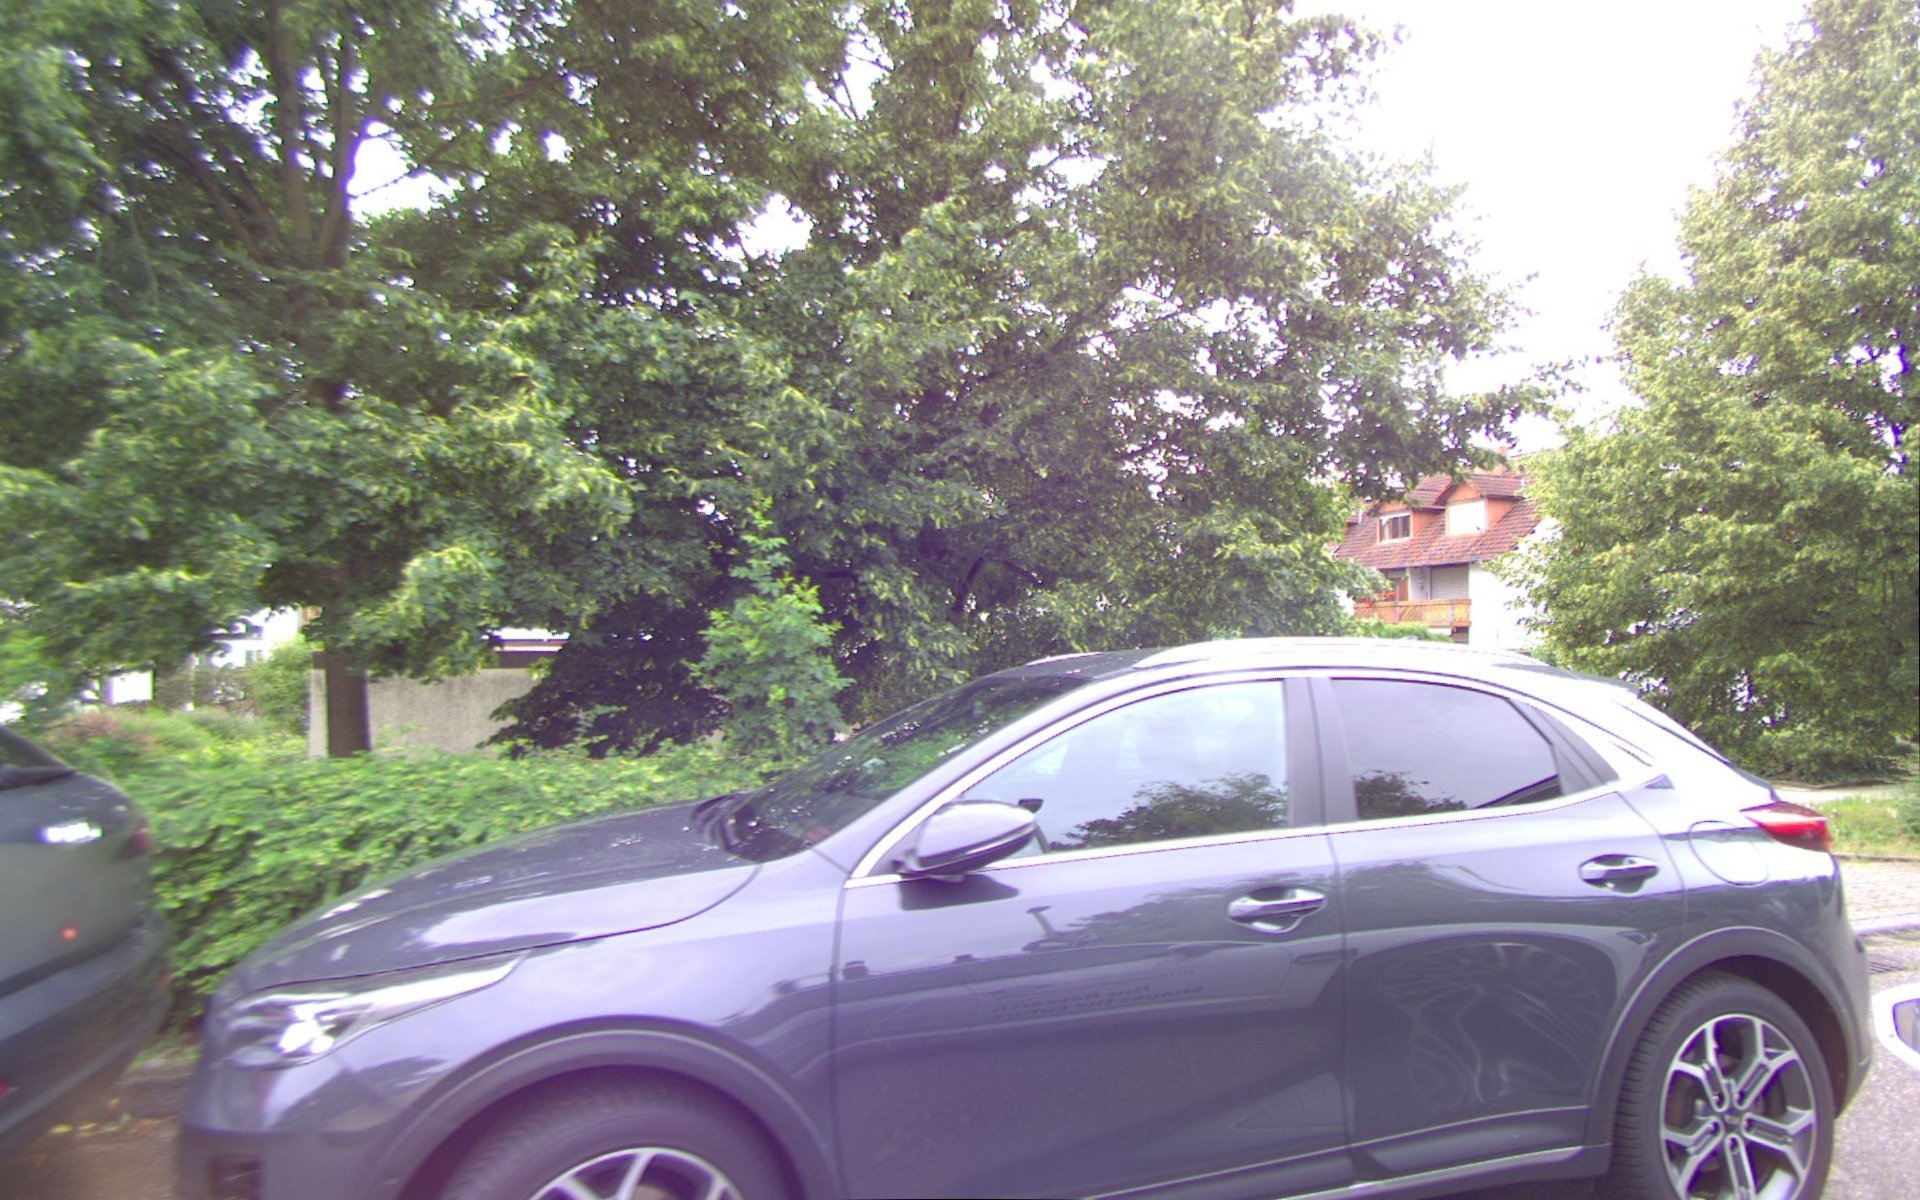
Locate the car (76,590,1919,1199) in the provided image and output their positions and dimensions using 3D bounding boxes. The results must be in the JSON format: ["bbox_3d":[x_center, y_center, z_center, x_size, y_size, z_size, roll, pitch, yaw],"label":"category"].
[{"bbox_3d":[0.440,0.842,2.906,4.125,1.550,1.743,1,-4,-15],"label":"car"}]

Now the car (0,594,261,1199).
[{"bbox_3d":[-4.015,0.770,1.774,4.186,1.550,1.740,1,-4,-20],"label":"car"}]
